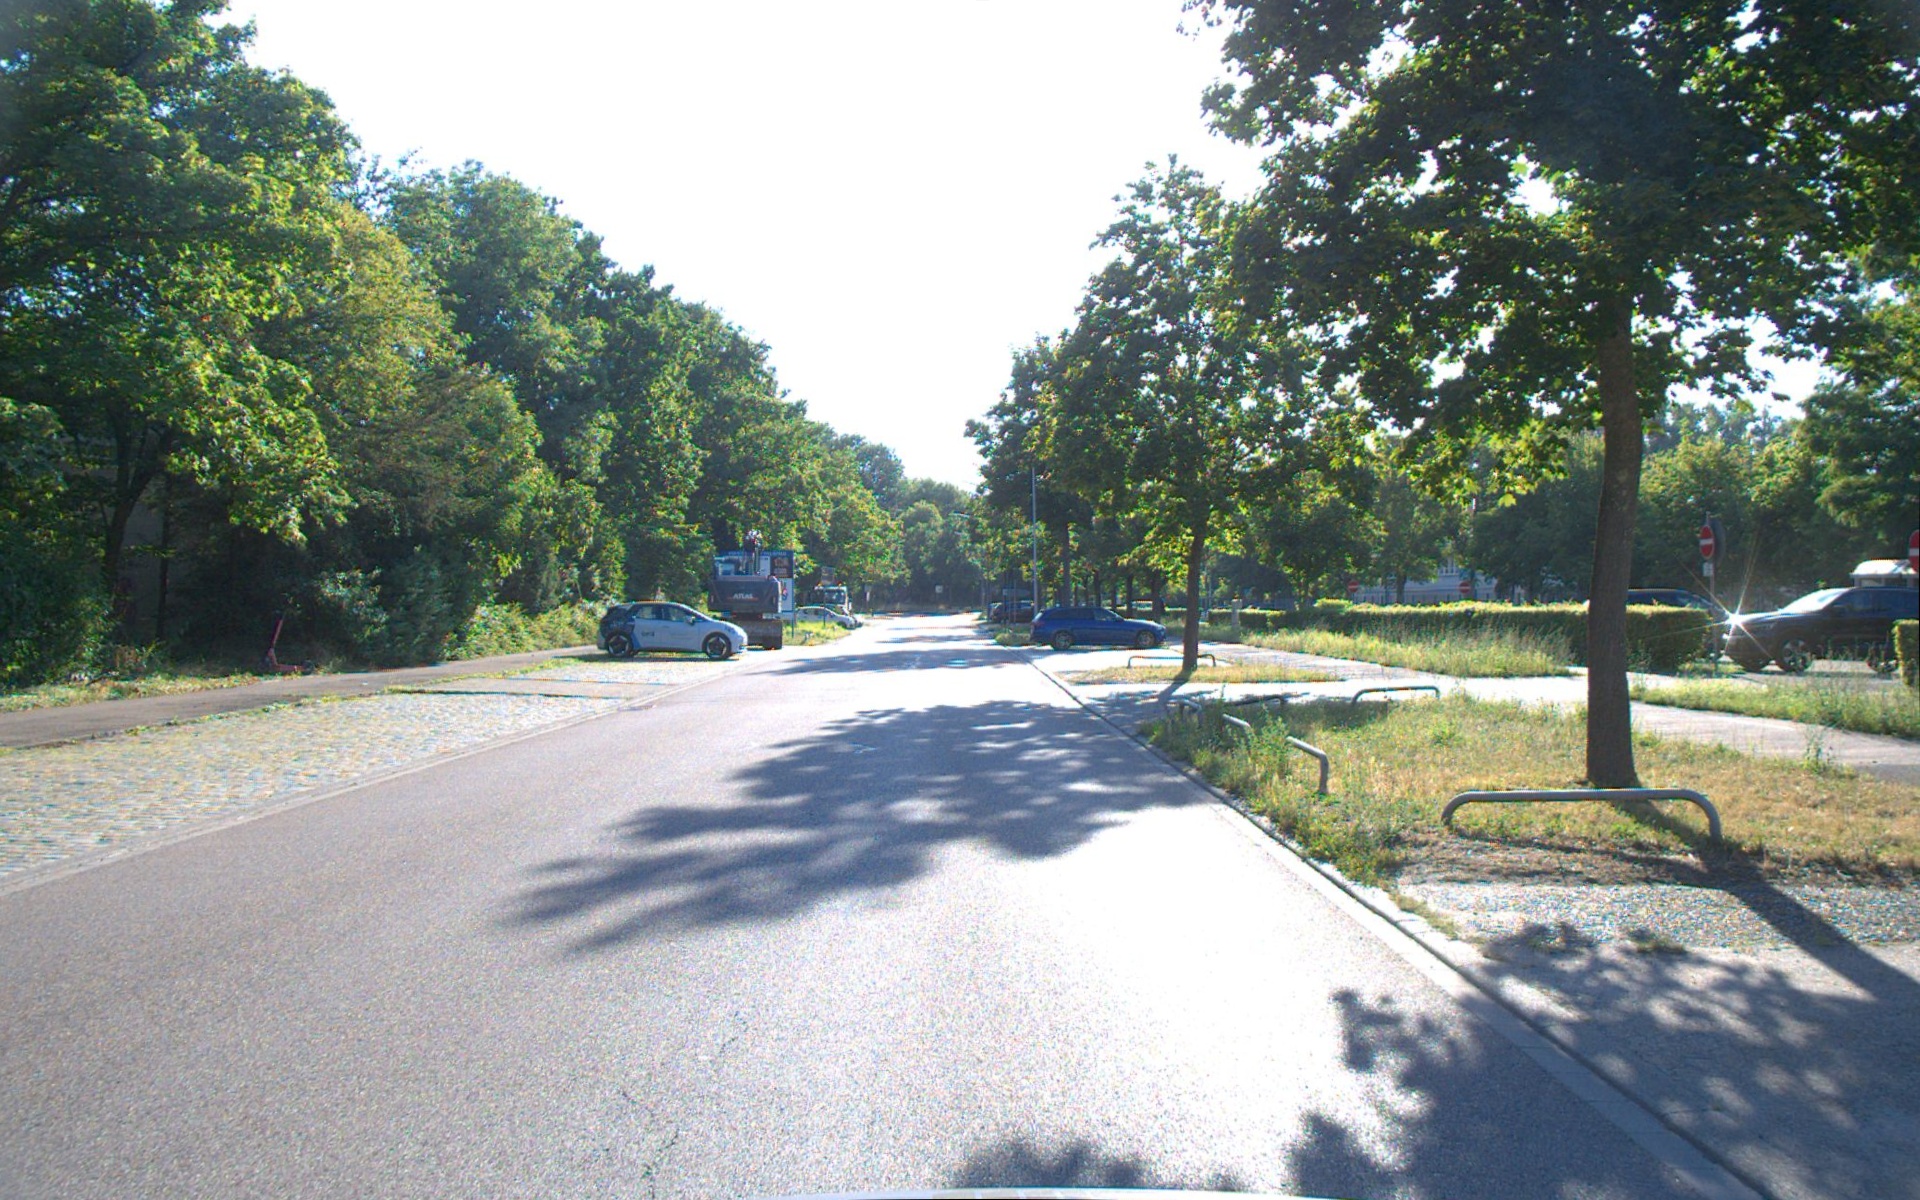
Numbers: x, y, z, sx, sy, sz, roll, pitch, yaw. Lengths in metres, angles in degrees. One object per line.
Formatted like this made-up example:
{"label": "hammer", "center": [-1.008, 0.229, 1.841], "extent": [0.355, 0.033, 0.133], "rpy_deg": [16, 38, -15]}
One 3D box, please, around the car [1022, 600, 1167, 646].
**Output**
{"label": "car", "center": [4.532, 0.764, 56.227], "extent": [4.742, 1.505, 2.000], "rpy_deg": [-1, 0, 0]}

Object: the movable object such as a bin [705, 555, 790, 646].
{"label": "movable object such as a bin", "center": [-7.574, 0.026, 59.380], "extent": [2.783, 3.122, 4.922], "rpy_deg": [-1, 0, -5]}

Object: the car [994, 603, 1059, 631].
{"label": "car", "center": [4.521, 1.170, 112.371], "extent": [4.270, 1.759, 1.999], "rpy_deg": [2, 0, -2]}

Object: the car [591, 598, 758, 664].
{"label": "car", "center": [-7.986, 0.857, 46.583], "extent": [4.269, 1.574, 2.000], "rpy_deg": [3, 0, 0]}

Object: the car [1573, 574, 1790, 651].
{"label": "car", "center": [16.999, 0.286, 39.107], "extent": [4.268, 1.735, 2.000], "rpy_deg": [-1, 0, 1]}

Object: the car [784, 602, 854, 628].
{"label": "car", "center": [-8.717, 0.919, 102.158], "extent": [4.276, 1.505, 1.997], "rpy_deg": [-1, 0, -7]}

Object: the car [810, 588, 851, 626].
{"label": "car", "center": [-8.526, 0.466, 108.864], "extent": [2.469, 2.428, 4.366], "rpy_deg": [-1, 0, -7]}

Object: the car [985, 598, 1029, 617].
{"label": "car", "center": [4.221, 0.675, 149.178], "extent": [3.906, 1.710, 1.999], "rpy_deg": [-1, 0, -2]}

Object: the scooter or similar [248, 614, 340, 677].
{"label": "scooter or similar", "center": [-12.780, 0.856, 31.782], "extent": [0.566, 1.165, 1.577], "rpy_deg": [-1, -1, 39]}

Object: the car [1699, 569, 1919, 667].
{"label": "car", "center": [17.002, 0.353, 32.158], "extent": [4.337, 1.735, 2.060], "rpy_deg": [2, 0, 2]}

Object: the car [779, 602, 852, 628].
{"label": "car", "center": [-8.705, 0.918, 99.490], "extent": [4.276, 1.505, 1.997], "rpy_deg": [-1, 0, -7]}
